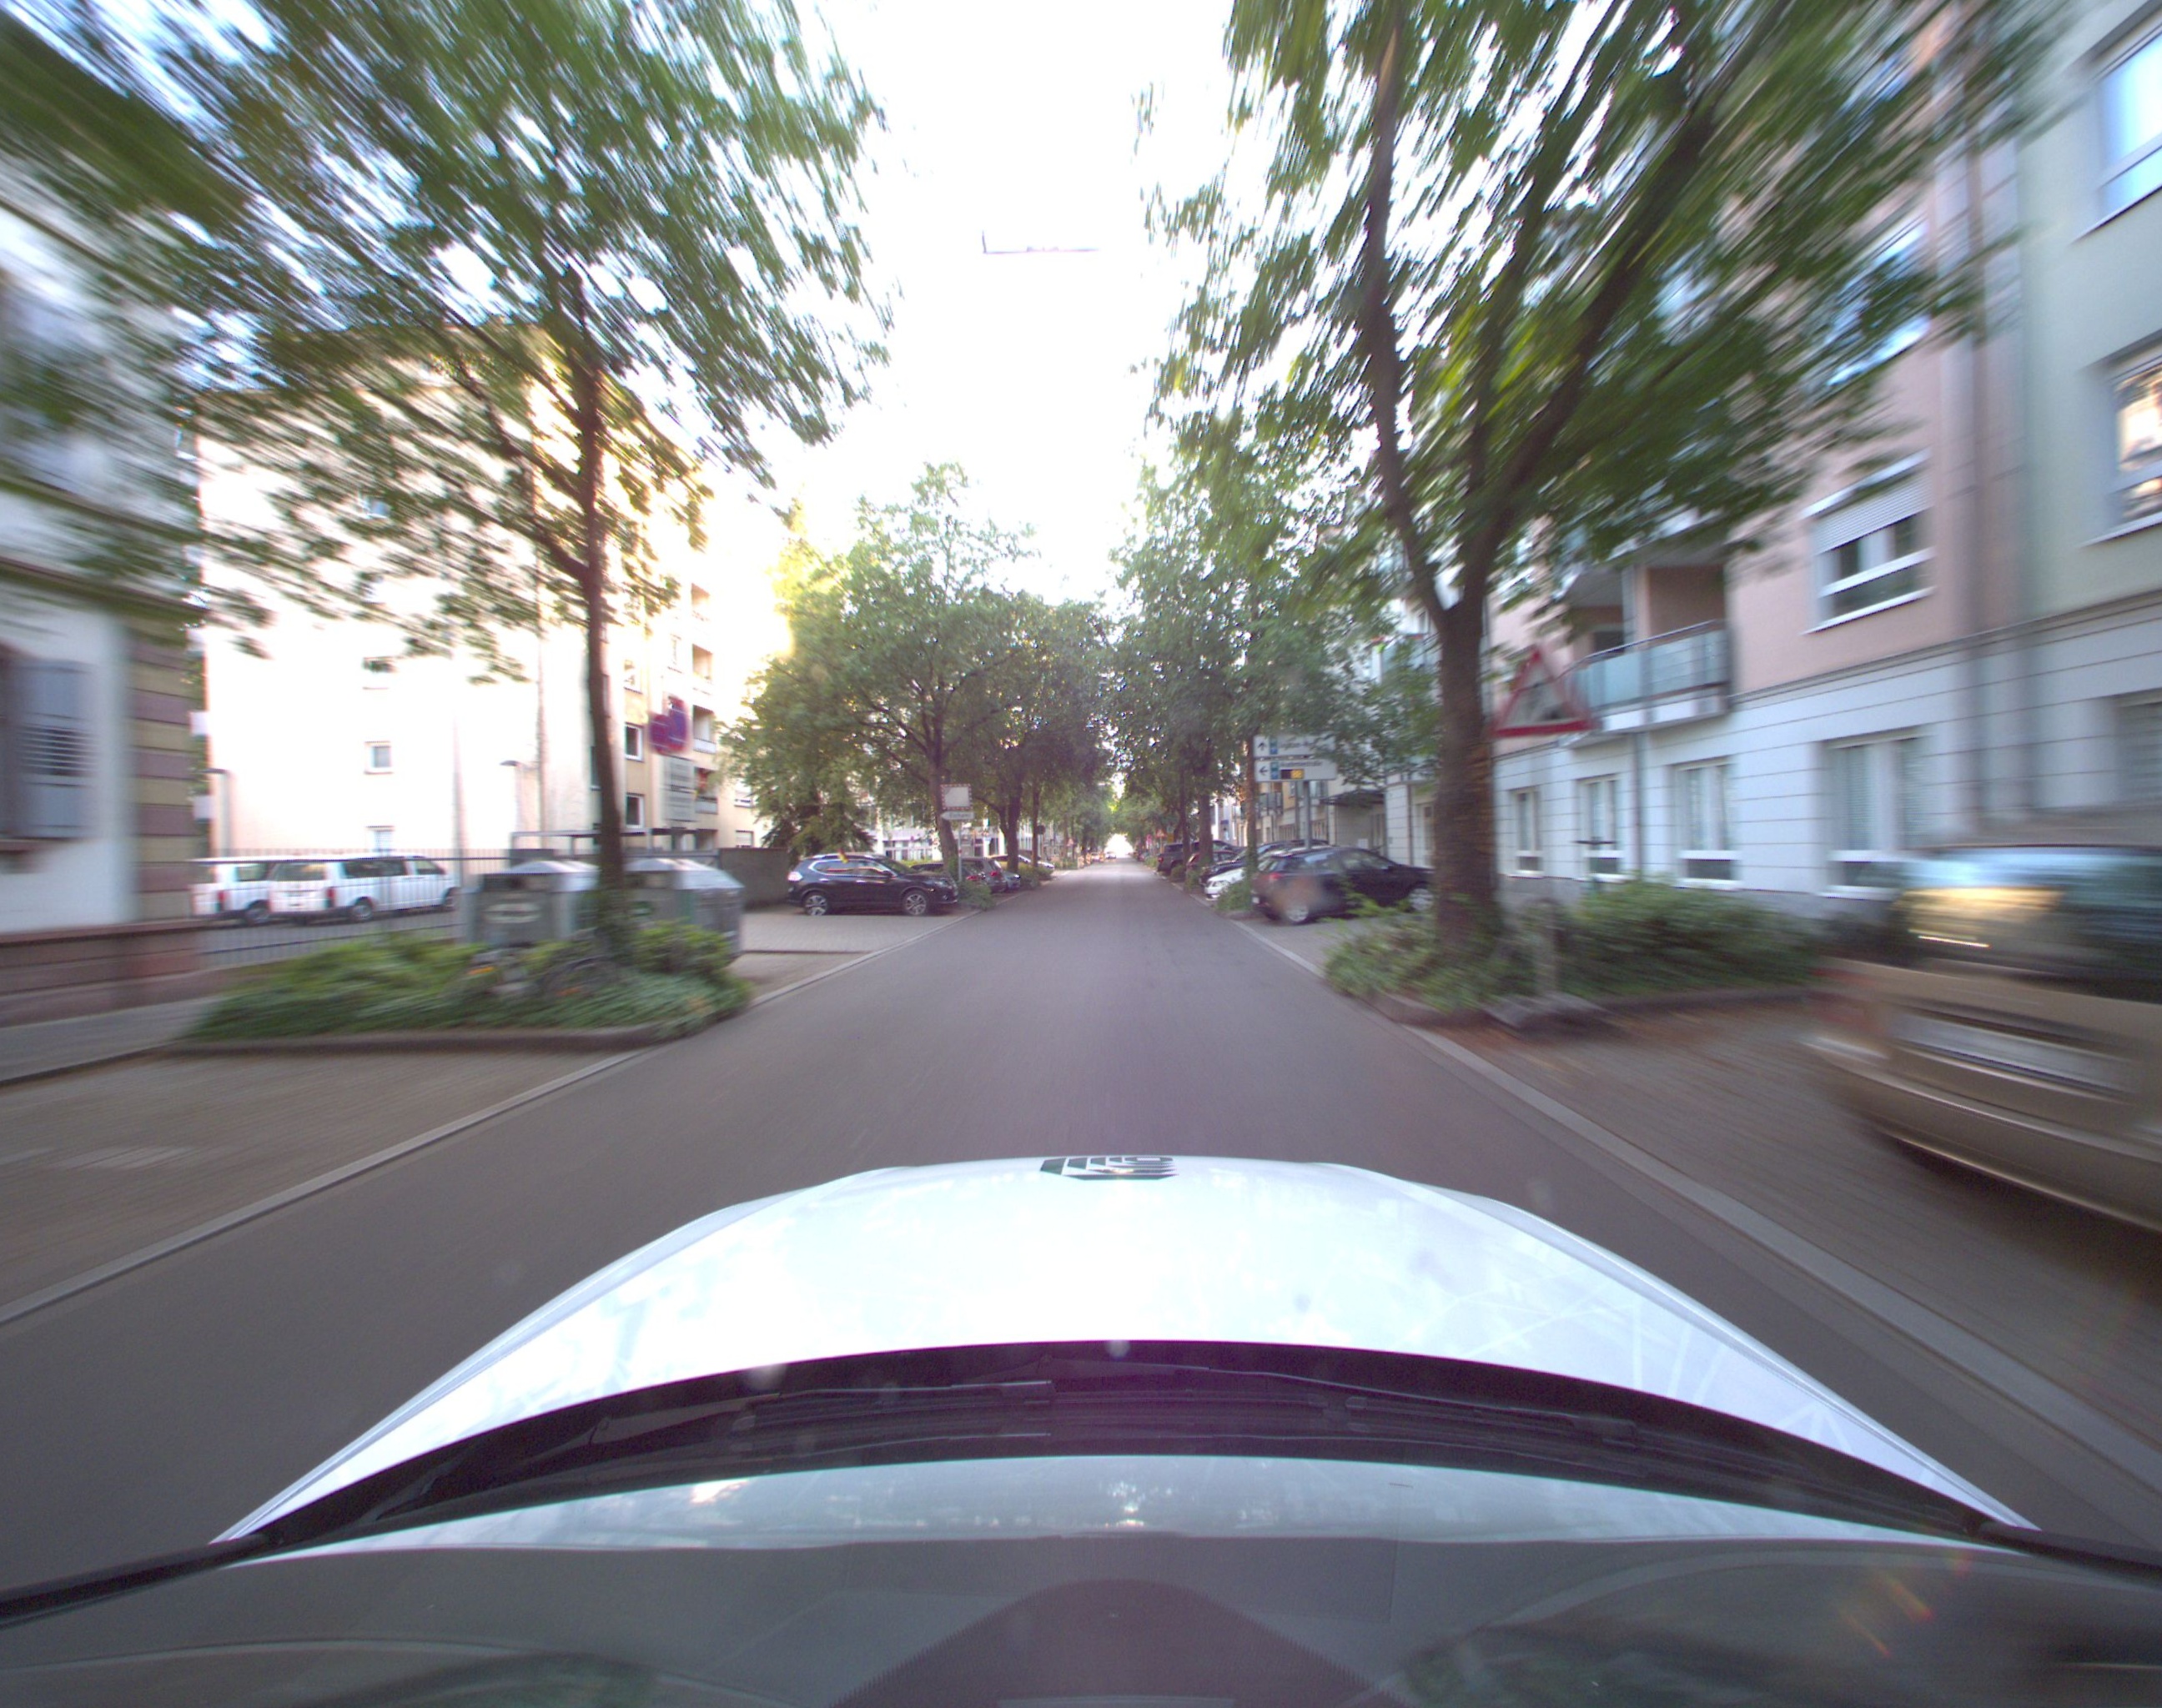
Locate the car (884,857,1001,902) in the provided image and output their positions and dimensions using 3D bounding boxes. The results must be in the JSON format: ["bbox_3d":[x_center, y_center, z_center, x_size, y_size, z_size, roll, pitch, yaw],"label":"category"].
[{"bbox_3d":[-5.083,0.935,30.270,3.974,1.490,1.825,-2,0,0],"label":"car"}]

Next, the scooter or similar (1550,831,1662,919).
[{"bbox_3d":[7.848,0.295,12.248,0.652,1.203,1.455,-5,0,0],"label":"scooter or similar"}]

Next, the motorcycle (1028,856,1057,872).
[{"bbox_3d":[-3.348,0.853,71.144,2.368,1.281,1.055,-2,0,-38],"label":"motorcycle"}]

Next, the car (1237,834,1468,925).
[{"bbox_3d":[5.543,0.493,16.965,4.074,1.451,1.933,-5,0,-3],"label":"car"}]

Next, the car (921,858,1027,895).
[{"bbox_3d":[-4.628,0.957,35.553,4.270,1.429,1.880,-2,0,2],"label":"car"}]

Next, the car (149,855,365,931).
[{"bbox_3d":[-23.558,1.030,23.532,1.985,1.947,4.004,-2,0,4],"label":"car"}]

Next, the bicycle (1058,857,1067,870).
[{"bbox_3d":[-1.699,0.859,74.688,0.681,1.152,1.979,-2,0,-2],"label":"bicycle"}]

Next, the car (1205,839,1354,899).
[{"bbox_3d":[6.117,0.460,25.560,4.204,1.438,1.932,-5,0,4],"label":"car"}]

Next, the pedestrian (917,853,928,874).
[{"bbox_3d":[-14.224,0.825,72.983,0.888,1.851,0.872,-2,0,-12],"label":"pedestrian"}]

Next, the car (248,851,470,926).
[{"bbox_3d":[-20.879,0.912,23.906,2.042,1.923,4.709,-2,0,5],"label":"car"}]

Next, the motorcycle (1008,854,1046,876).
[{"bbox_3d":[-3.627,0.738,55.014,2.441,1.420,0.912,-2,0,4],"label":"motorcycle"}]

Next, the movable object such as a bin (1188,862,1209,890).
[{"bbox_3d":[4.903,0.914,34.077,0.757,1.084,0.786,-3,0,3],"label":"movable object such as a bin"}]

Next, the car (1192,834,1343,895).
[{"bbox_3d":[6.353,0.340,28.147,4.630,1.617,2.009,-5,0,-2],"label":"car"}]

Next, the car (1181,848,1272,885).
[{"bbox_3d":[6.467,0.538,36.576,3.763,1.544,1.878,-1,0,1],"label":"car"}]

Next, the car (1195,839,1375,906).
[{"bbox_3d":[5.658,0.504,22.992,4.583,1.468,1.797,-5,0,1],"label":"car"}]

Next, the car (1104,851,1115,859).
[{"bbox_3d":[5.613,0.218,159.346,2.002,1.613,4.121,-1,0,2],"label":"car"}]

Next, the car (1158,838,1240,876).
[{"bbox_3d":[7.023,0.157,48.935,4.583,2.066,2.198,-2,0,1],"label":"car"}]

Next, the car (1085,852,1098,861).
[{"bbox_3d":[1.700,0.393,134.188,1.988,1.288,3.998,-2,0,-1],"label":"car"}]

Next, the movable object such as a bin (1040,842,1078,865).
[{"bbox_3d":[-2.434,-0.045,89.283,4.037,2.383,2.781,-2,0,-3],"label":"movable object such as a bin"}]

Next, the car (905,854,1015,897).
[{"bbox_3d":[-4.853,0.863,32.930,3.965,1.565,1.933,-2,0,7],"label":"car"}]

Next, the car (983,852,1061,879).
[{"bbox_3d":[-3.705,0.725,51.418,4.597,1.552,2.078,-1,0,5],"label":"car"}]

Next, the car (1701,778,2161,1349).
[{"bbox_3d":[4.980,0.446,2.916,3.954,1.585,1.917,-4,0,2],"label":"car"}]

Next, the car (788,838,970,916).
[{"bbox_3d":[-5.523,0.618,22.672,4.489,1.955,2.000,-1,0,1],"label":"car"}]

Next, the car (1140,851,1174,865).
[{"bbox_3d":[9.121,0.453,97.592,3.969,1.585,2.002,-2,0,4],"label":"car"}]

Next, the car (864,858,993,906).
[{"bbox_3d":[-5.158,0.919,27.887,3.973,1.464,1.923,-2,0,1],"label":"car"}]

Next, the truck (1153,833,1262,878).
[{"bbox_3d":[7.094,0.078,46.185,5.863,2.311,2.214,-2,0,3],"label":"truck"}]
